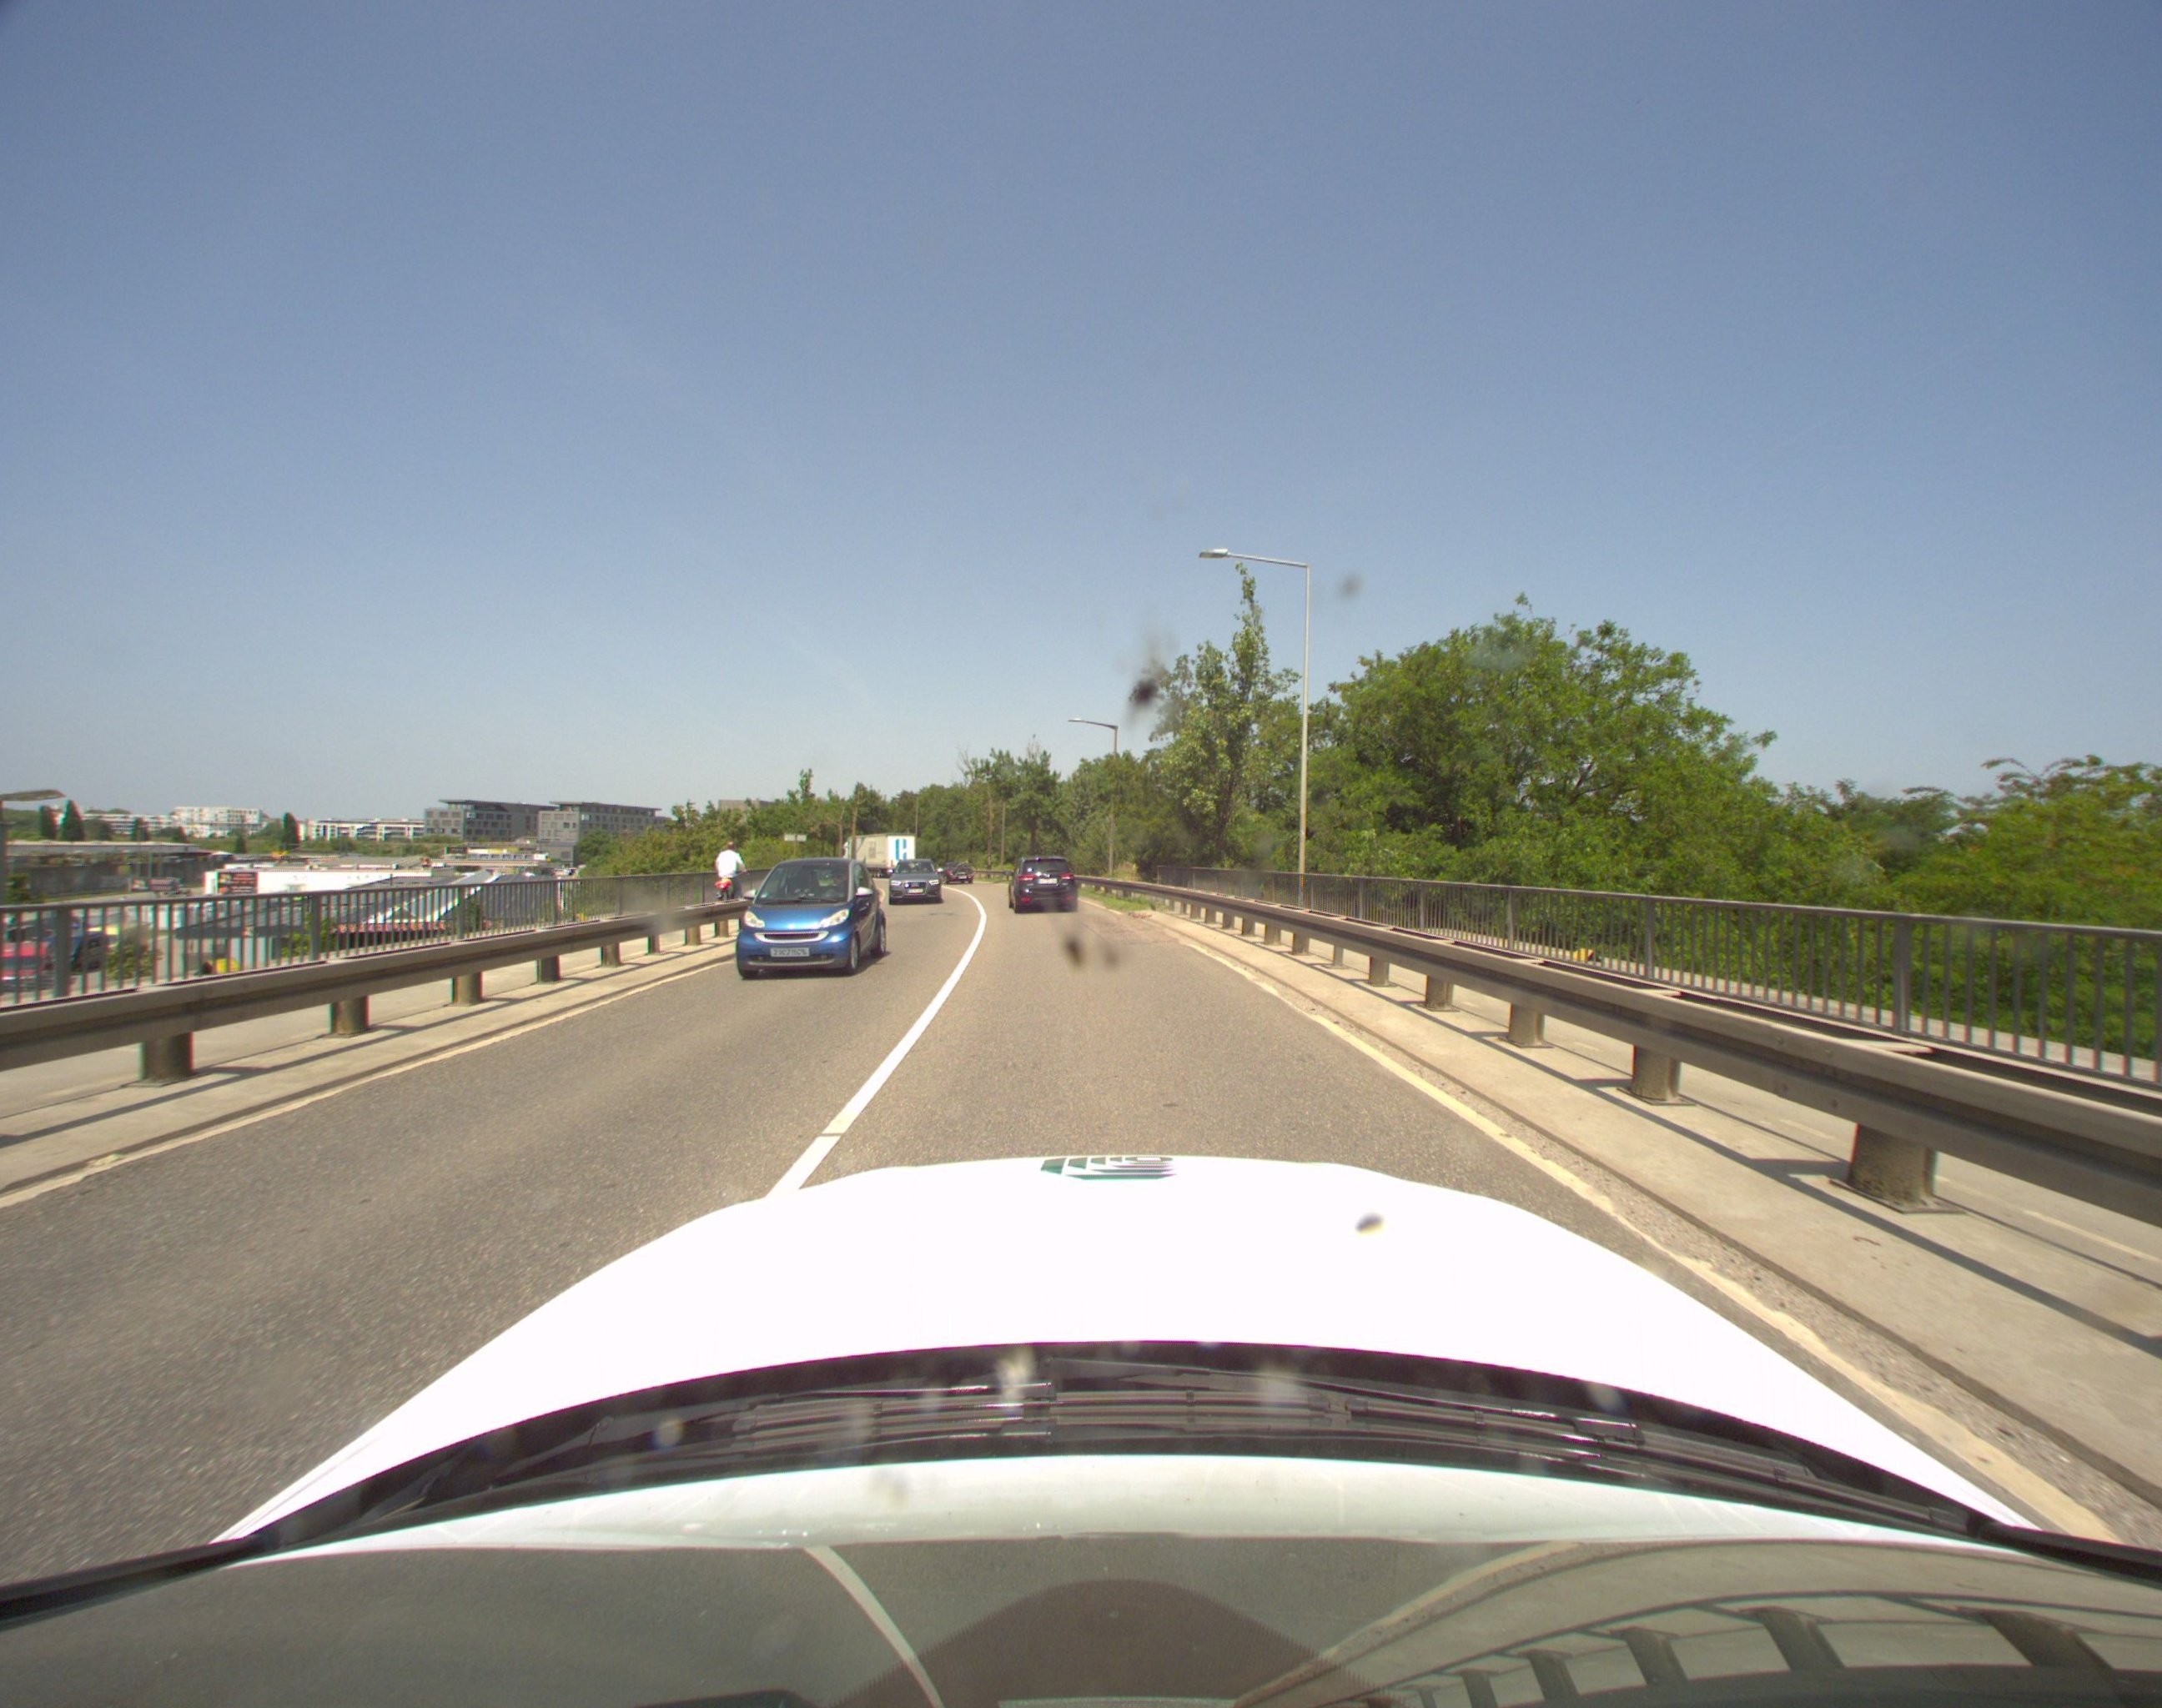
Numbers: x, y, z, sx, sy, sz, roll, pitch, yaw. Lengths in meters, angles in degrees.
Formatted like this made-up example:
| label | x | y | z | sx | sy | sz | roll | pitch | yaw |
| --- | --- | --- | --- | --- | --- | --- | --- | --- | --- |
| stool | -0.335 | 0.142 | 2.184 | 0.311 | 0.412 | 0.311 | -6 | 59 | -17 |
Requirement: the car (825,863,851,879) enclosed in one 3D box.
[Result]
| label | x | y | z | sx | sy | sz | roll | pitch | yaw |
| --- | --- | --- | --- | --- | --- | --- | --- | --- | --- |
| car | -23.780 | 1.631 | 79.475 | 1.685 | 1.443 | 4.092 | -1 | 0 | -28 |

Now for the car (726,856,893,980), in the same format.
| label | x | y | z | sx | sy | sz | roll | pitch | yaw |
| --- | --- | --- | --- | --- | --- | --- | --- | --- | --- |
| car | -3.694 | 0.791 | 11.510 | 1.594 | 1.486 | 2.744 | 0 | 1 | -5 |

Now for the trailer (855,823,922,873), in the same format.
| label | x | y | z | sx | sy | sz | roll | pitch | yaw |
| --- | --- | --- | --- | --- | --- | --- | --- | --- | --- |
| trailer | -18.411 | -0.601 | 77.284 | 3.589 | 4.384 | 11.340 | -1 | 1 | -27 |

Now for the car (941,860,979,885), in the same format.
| label | x | y | z | sx | sy | sz | roll | pitch | yaw |
| --- | --- | --- | --- | --- | --- | --- | --- | --- | --- |
| car | -7.811 | 1.141 | 52.174 | 2.015 | 1.429 | 3.758 | -1 | 1 | -15 |

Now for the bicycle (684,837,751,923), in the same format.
| label | x | y | z | sx | sy | sz | roll | pitch | yaw |
| --- | --- | --- | --- | --- | --- | --- | --- | --- | --- |
| bicycle | -8.115 | 0.537 | 18.285 | 0.697 | 1.801 | 2.177 | 0 | 1 | -6 |

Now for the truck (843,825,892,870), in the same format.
| label | x | y | z | sx | sy | sz | roll | pitch | yaw |
| --- | --- | --- | --- | --- | --- | --- | --- | --- | --- |
| truck | -21.971 | -0.672 | 83.639 | 3.592 | 4.440 | 6.459 | -1 | 1 | -26 |

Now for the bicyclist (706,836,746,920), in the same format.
| label | x | y | z | sx | sy | sz | roll | pitch | yaw |
| --- | --- | --- | --- | --- | --- | --- | --- | --- | --- |
| bicyclist | -8.171 | 0.534 | 18.762 | 0.623 | 1.886 | 0.711 | 0 | 0 | -6 |

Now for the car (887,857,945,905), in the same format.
| label | x | y | z | sx | sy | sz | roll | pitch | yaw |
| --- | --- | --- | --- | --- | --- | --- | --- | --- | --- |
| car | -5.913 | 0.910 | 29.533 | 1.822 | 1.537 | 4.183 | 0 | 1 | -8 |

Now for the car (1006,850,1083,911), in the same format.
| label | x | y | z | sx | sy | sz | roll | pitch | yaw |
| --- | --- | --- | --- | --- | --- | --- | --- | --- | --- |
| car | -1.144 | 0.690 | 23.740 | 1.920 | 1.574 | 3.882 | 0 | 1 | -7 |
